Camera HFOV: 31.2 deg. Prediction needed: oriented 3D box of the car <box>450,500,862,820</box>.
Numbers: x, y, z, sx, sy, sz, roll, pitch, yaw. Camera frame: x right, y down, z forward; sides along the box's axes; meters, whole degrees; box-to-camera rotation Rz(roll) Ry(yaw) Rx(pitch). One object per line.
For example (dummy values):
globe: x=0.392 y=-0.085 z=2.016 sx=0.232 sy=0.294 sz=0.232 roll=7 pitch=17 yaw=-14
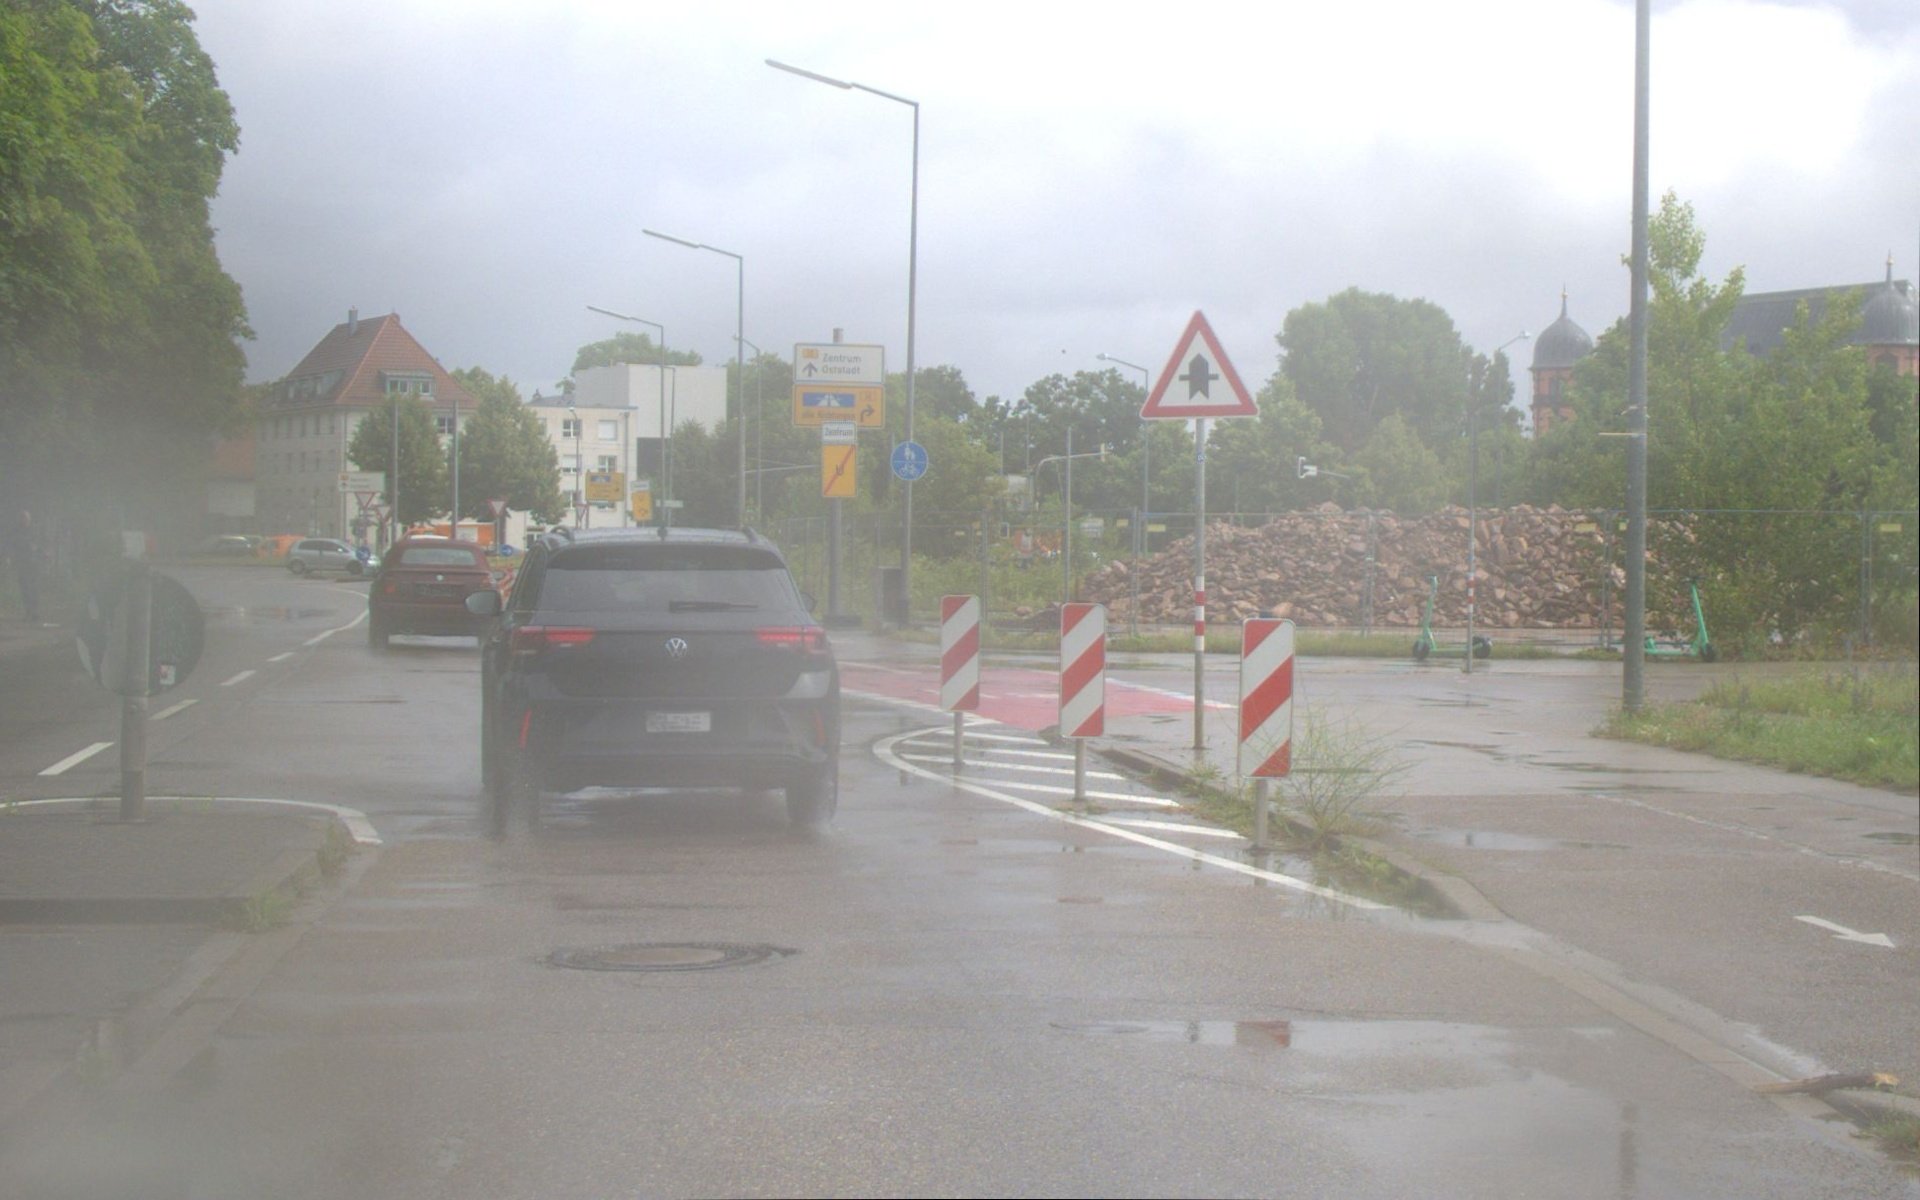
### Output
car: x=-1.766 y=0.263 z=18.895 sx=1.986 sy=1.515 sz=4.001 roll=-1 pitch=1 yaw=-8

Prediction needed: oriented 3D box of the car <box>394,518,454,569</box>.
car: x=-18.306 y=-1.927 z=117.358 sx=1.996 sy=1.697 sz=4.017 roll=0 pitch=1 yaw=-9

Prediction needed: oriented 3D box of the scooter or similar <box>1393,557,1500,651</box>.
scooter or similar: x=6.603 y=0.052 z=46.694 sx=1.282 sy=1.183 sz=0.502 roll=5 pitch=3 yaw=32

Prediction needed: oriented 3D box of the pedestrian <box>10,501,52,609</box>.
pedestrian: x=-14.875 y=-0.727 z=55.074 sx=0.524 sy=1.695 sz=0.566 roll=3 pitch=3 yaw=-9

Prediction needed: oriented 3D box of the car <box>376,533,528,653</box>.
car: x=-6.640 y=-0.093 z=45.112 sx=1.841 sy=1.437 sz=4.001 roll=-2 pitch=0 yaw=-8

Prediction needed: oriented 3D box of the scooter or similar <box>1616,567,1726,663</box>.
scooter or similar: x=9.482 y=0.193 z=45.871 sx=1.282 sy=1.183 sz=0.502 roll=5 pitch=3 yaw=32
